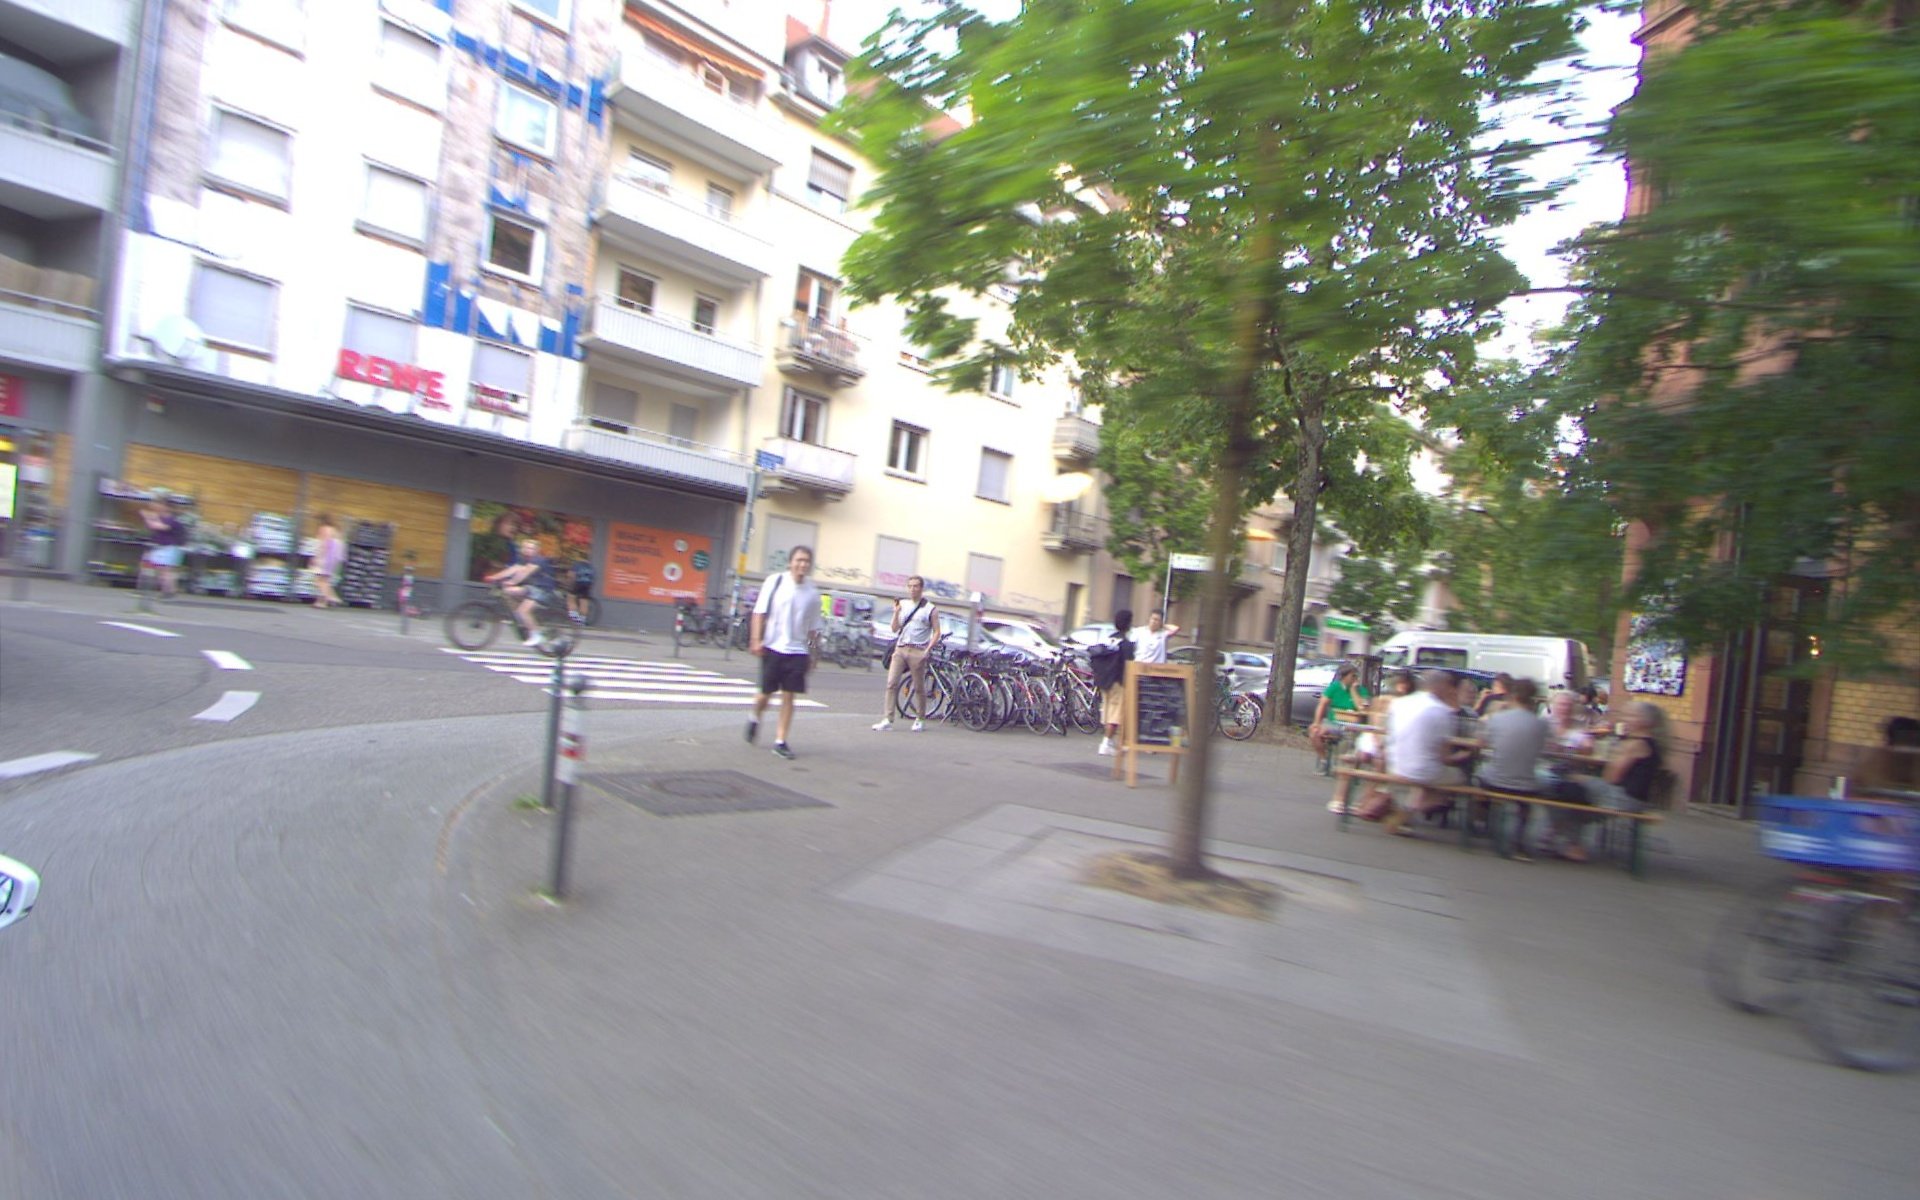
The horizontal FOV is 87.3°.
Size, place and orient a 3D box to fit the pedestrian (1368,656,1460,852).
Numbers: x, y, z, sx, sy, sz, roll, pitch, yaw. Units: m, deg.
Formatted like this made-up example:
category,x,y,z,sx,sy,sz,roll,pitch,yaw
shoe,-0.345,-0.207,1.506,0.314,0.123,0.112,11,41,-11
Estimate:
category,x,y,z,sx,sy,sz,roll,pitch,yaw
pedestrian,3.484,1.158,7.749,0.458,1.396,0.547,6,-1,18

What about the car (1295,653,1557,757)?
category,x,y,z,sx,sy,sz,roll,pitch,yaw
car,9.670,2.162,21.131,1.988,1.543,4.491,9,-3,-43

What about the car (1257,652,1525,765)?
category,x,y,z,sx,sy,sz,roll,pitch,yaw
car,8.172,2.037,19.342,1.899,1.543,4.242,9,-3,-43

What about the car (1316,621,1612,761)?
category,x,y,z,sx,sy,sz,roll,pitch,yaw
car,11.339,1.995,22.951,5.470,2.448,2.235,4,-3,44

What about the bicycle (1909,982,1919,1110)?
category,x,y,z,sx,sy,sz,roll,pitch,yaw
bicycle,4.444,1.306,3.505,1.738,1.303,0.599,7,-2,-6

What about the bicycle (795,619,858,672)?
category,x,y,z,sx,sy,sz,roll,pitch,yaw
bicycle,-2.906,1.021,22.147,0.482,1.038,2.018,6,-3,17

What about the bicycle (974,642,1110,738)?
category,x,y,z,sx,sy,sz,roll,pitch,yaw
bicycle,1.155,1.278,14.562,2.008,1.147,0.433,5,-2,43

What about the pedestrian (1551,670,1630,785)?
category,x,y,z,sx,sy,sz,roll,pitch,yaw
pedestrian,10.033,2.024,16.014,0.761,1.696,0.738,8,-2,-40

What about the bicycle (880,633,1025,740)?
category,x,y,z,sx,sy,sz,roll,pitch,yaw
bicycle,-0.131,1.093,13.075,2.008,1.147,0.433,5,-2,43

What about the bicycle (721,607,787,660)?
category,x,y,z,sx,sy,sz,roll,pitch,yaw
bicycle,-4.566,0.778,22.440,0.371,1.038,2.017,6,-3,19

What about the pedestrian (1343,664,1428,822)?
category,x,y,z,sx,sy,sz,roll,pitch,yaw
pedestrian,3.770,1.252,8.947,0.563,1.284,0.546,6,-2,22

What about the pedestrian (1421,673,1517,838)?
category,x,y,z,sx,sy,sz,roll,pitch,yaw
pedestrian,4.317,1.299,8.559,0.563,1.284,0.546,6,-2,22

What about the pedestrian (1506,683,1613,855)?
category,x,y,z,sx,sy,sz,roll,pitch,yaw
pedestrian,4.900,1.355,8.249,0.563,1.284,0.546,6,-2,22

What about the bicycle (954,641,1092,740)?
category,x,y,z,sx,sy,sz,roll,pitch,yaw
bicycle,0.853,1.258,14.206,2.008,1.147,0.433,5,-2,43

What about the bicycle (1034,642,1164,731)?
category,x,y,z,sx,sy,sz,roll,pitch,yaw
bicycle,2.139,1.329,15.712,2.008,1.147,0.433,5,-2,43

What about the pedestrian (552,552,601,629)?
category,x,y,z,sx,sy,sz,roll,pitch,yaw
pedestrian,-8.540,-0.219,22.383,0.661,1.619,0.710,8,-2,-39

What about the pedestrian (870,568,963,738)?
category,x,y,z,sx,sy,sz,roll,pitch,yaw
pedestrian,-0.532,0.619,11.905,0.853,1.849,0.837,7,-1,-5

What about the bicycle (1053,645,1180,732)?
category,x,y,z,sx,sy,sz,roll,pitch,yaw
bicycle,2.470,1.396,16.088,2.008,1.147,0.433,5,-2,43

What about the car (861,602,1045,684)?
category,x,y,z,sx,sy,sz,roll,pitch,yaw
car,-0.122,1.135,26.455,4.457,1.543,2.003,6,-2,8

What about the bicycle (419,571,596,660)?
category,x,y,z,sx,sy,sz,roll,pitch,yaw
bicycle,-6.723,0.260,15.087,0.778,1.086,2.280,7,-1,33

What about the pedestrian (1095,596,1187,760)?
category,x,y,z,sx,sy,sz,roll,pitch,yaw
pedestrian,2.227,0.943,12.308,0.852,1.849,0.838,6,-2,15

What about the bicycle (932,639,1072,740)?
category,x,y,z,sx,sy,sz,roll,pitch,yaw
bicycle,0.542,1.203,13.833,2.008,1.147,0.433,5,-2,43

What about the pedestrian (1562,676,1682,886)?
category,x,y,z,sx,sy,sz,roll,pitch,yaw
pedestrian,4.813,1.291,7.349,0.564,1.396,0.546,6,-2,28

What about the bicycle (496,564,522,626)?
category,x,y,z,sx,sy,sz,roll,pitch,yaw
bicycle,-9.475,-0.111,21.127,0.344,1.217,1.800,7,-2,-24

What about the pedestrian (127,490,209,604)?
category,x,y,z,sx,sy,sz,roll,pitch,yaw
pedestrian,-12.479,-0.836,15.854,0.703,1.671,0.716,5,-2,37

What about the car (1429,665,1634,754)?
category,x,y,z,sx,sy,sz,roll,pitch,yaw
car,15.836,3.010,28.013,4.488,1.805,1.989,4,-3,45

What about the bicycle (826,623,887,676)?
category,x,y,z,sx,sy,sz,roll,pitch,yaw
bicycle,-2.236,1.100,21.936,0.482,1.038,2.018,6,-3,17

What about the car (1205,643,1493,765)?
category,x,y,z,sx,sy,sz,roll,pitch,yaw
car,6.731,1.786,17.748,1.899,1.543,4.242,9,-3,-43

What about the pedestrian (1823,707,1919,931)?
category,x,y,z,sx,sy,sz,roll,pitch,yaw
pedestrian,6.522,1.501,6.932,0.609,1.425,0.513,7,-1,-12

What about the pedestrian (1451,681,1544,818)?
category,x,y,z,sx,sy,sz,roll,pitch,yaw
pedestrian,5.893,1.619,11.062,0.727,1.361,0.627,6,-2,24

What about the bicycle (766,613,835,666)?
category,x,y,z,sx,sy,sz,roll,pitch,yaw
bicycle,-3.478,0.894,22.120,0.482,1.038,2.017,6,-3,19

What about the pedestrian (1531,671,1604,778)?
category,x,y,z,sx,sy,sz,roll,pitch,yaw
pedestrian,10.374,2.121,17.180,0.761,1.696,0.738,8,-2,-40

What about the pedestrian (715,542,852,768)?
category,x,y,z,sx,sy,sz,roll,pitch,yaw
pedestrian,-1.563,0.471,8.793,0.856,1.790,0.945,7,-2,-19

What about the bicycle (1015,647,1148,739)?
category,x,y,z,sx,sy,sz,roll,pitch,yaw
bicycle,1.808,1.387,15.257,2.008,1.147,0.433,5,-2,43

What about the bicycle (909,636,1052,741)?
category,x,y,z,sx,sy,sz,roll,pitch,yaw
bicycle,0.238,1.156,13.468,2.008,1.147,0.433,5,-2,43

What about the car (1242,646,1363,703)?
category,x,y,z,sx,sy,sz,roll,pitch,yaw
car,14.496,3.157,42.839,4.457,1.805,2.003,6,-2,10

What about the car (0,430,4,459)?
category,x,y,z,sx,sy,sz,roll,pitch,yaw
car,-8.921,-0.550,7.645,4.932,1.831,1.936,7,-1,42

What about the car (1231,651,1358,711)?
category,x,y,z,sx,sy,sz,roll,pitch,yaw
car,13.391,3.242,40.536,4.457,1.805,2.003,6,-2,10

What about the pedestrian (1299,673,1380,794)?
category,x,y,z,sx,sy,sz,roll,pitch,yaw
pedestrian,4.350,1.511,11.515,0.727,1.246,0.627,6,-2,24

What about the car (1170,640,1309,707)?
category,x,y,z,sx,sy,sz,roll,pitch,yaw
car,10.095,2.660,36.661,4.457,1.805,2.003,7,-2,8

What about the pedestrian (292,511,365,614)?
category,x,y,z,sx,sy,sz,roll,pitch,yaw
pedestrian,-11.398,-0.666,18.165,0.655,1.746,0.721,6,-2,30

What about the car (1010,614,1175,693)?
category,x,y,z,sx,sy,sz,roll,pitch,yaw
car,4.007,1.620,30.385,4.460,1.805,2.002,6,-2,20

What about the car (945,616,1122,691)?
category,x,y,z,sx,sy,sz,roll,pitch,yaw
car,2.062,1.500,28.559,4.468,1.543,1.998,5,-3,31

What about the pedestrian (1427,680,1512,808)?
category,x,y,z,sx,sy,sz,roll,pitch,yaw
pedestrian,5.947,1.659,11.773,0.727,1.361,0.627,6,-2,24

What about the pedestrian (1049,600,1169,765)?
category,x,y,z,sx,sy,sz,roll,pitch,yaw
pedestrian,1.693,0.924,11.480,0.828,1.743,0.861,7,-2,-32

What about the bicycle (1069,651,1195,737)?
category,x,y,z,sx,sy,sz,roll,pitch,yaw
bicycle,2.779,1.518,16.436,2.008,1.147,0.433,5,-2,43

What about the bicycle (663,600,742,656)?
category,x,y,z,sx,sy,sz,roll,pitch,yaw
bicycle,-5.450,0.611,21.383,0.372,1.038,1.657,5,-3,38

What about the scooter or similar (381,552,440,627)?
category,x,y,z,sx,sy,sz,roll,pitch,yaw
scooter or similar,-10.456,-0.204,19.117,1.269,1.281,0.321,8,0,36

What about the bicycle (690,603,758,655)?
category,x,y,z,sx,sy,sz,roll,pitch,yaw
bicycle,-5.300,0.674,22.700,0.371,1.038,2.017,6,-3,19

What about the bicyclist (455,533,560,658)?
category,x,y,z,sx,sy,sz,roll,pitch,yaw
bicyclist,-6.733,-0.055,14.982,0.778,1.709,0.995,7,0,34

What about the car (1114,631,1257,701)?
category,x,y,z,sx,sy,sz,roll,pitch,yaw
car,7.604,2.246,34.363,4.457,1.805,2.003,7,-2,8

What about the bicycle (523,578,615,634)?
category,x,y,z,sx,sy,sz,roll,pitch,yaw
bicycle,-8.831,0.150,22.771,0.373,1.038,1.873,5,-3,44

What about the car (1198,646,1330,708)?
category,x,y,z,sx,sy,sz,roll,pitch,yaw
car,11.607,2.938,38.711,4.457,1.805,2.003,6,-2,10

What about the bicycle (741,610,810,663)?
category,x,y,z,sx,sy,sz,roll,pitch,yaw
bicycle,-4.061,0.832,22.294,0.482,1.038,2.017,6,-3,19

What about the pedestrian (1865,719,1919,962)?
category,x,y,z,sx,sy,sz,roll,pitch,yaw
pedestrian,6.037,1.476,6.059,0.504,1.425,0.640,6,-1,8

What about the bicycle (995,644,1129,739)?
category,x,y,z,sx,sy,sz,roll,pitch,yaw
bicycle,1.480,1.335,14.911,2.008,1.147,0.433,5,-2,43

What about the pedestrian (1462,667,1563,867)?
category,x,y,z,sx,sy,sz,roll,pitch,yaw
pedestrian,4.166,1.234,7.616,0.458,1.396,0.547,6,-1,18

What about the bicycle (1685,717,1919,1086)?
category,x,y,z,sx,sy,sz,roll,pitch,yaw
bicycle,4.064,1.258,4.249,1.697,1.304,0.597,7,0,-16
